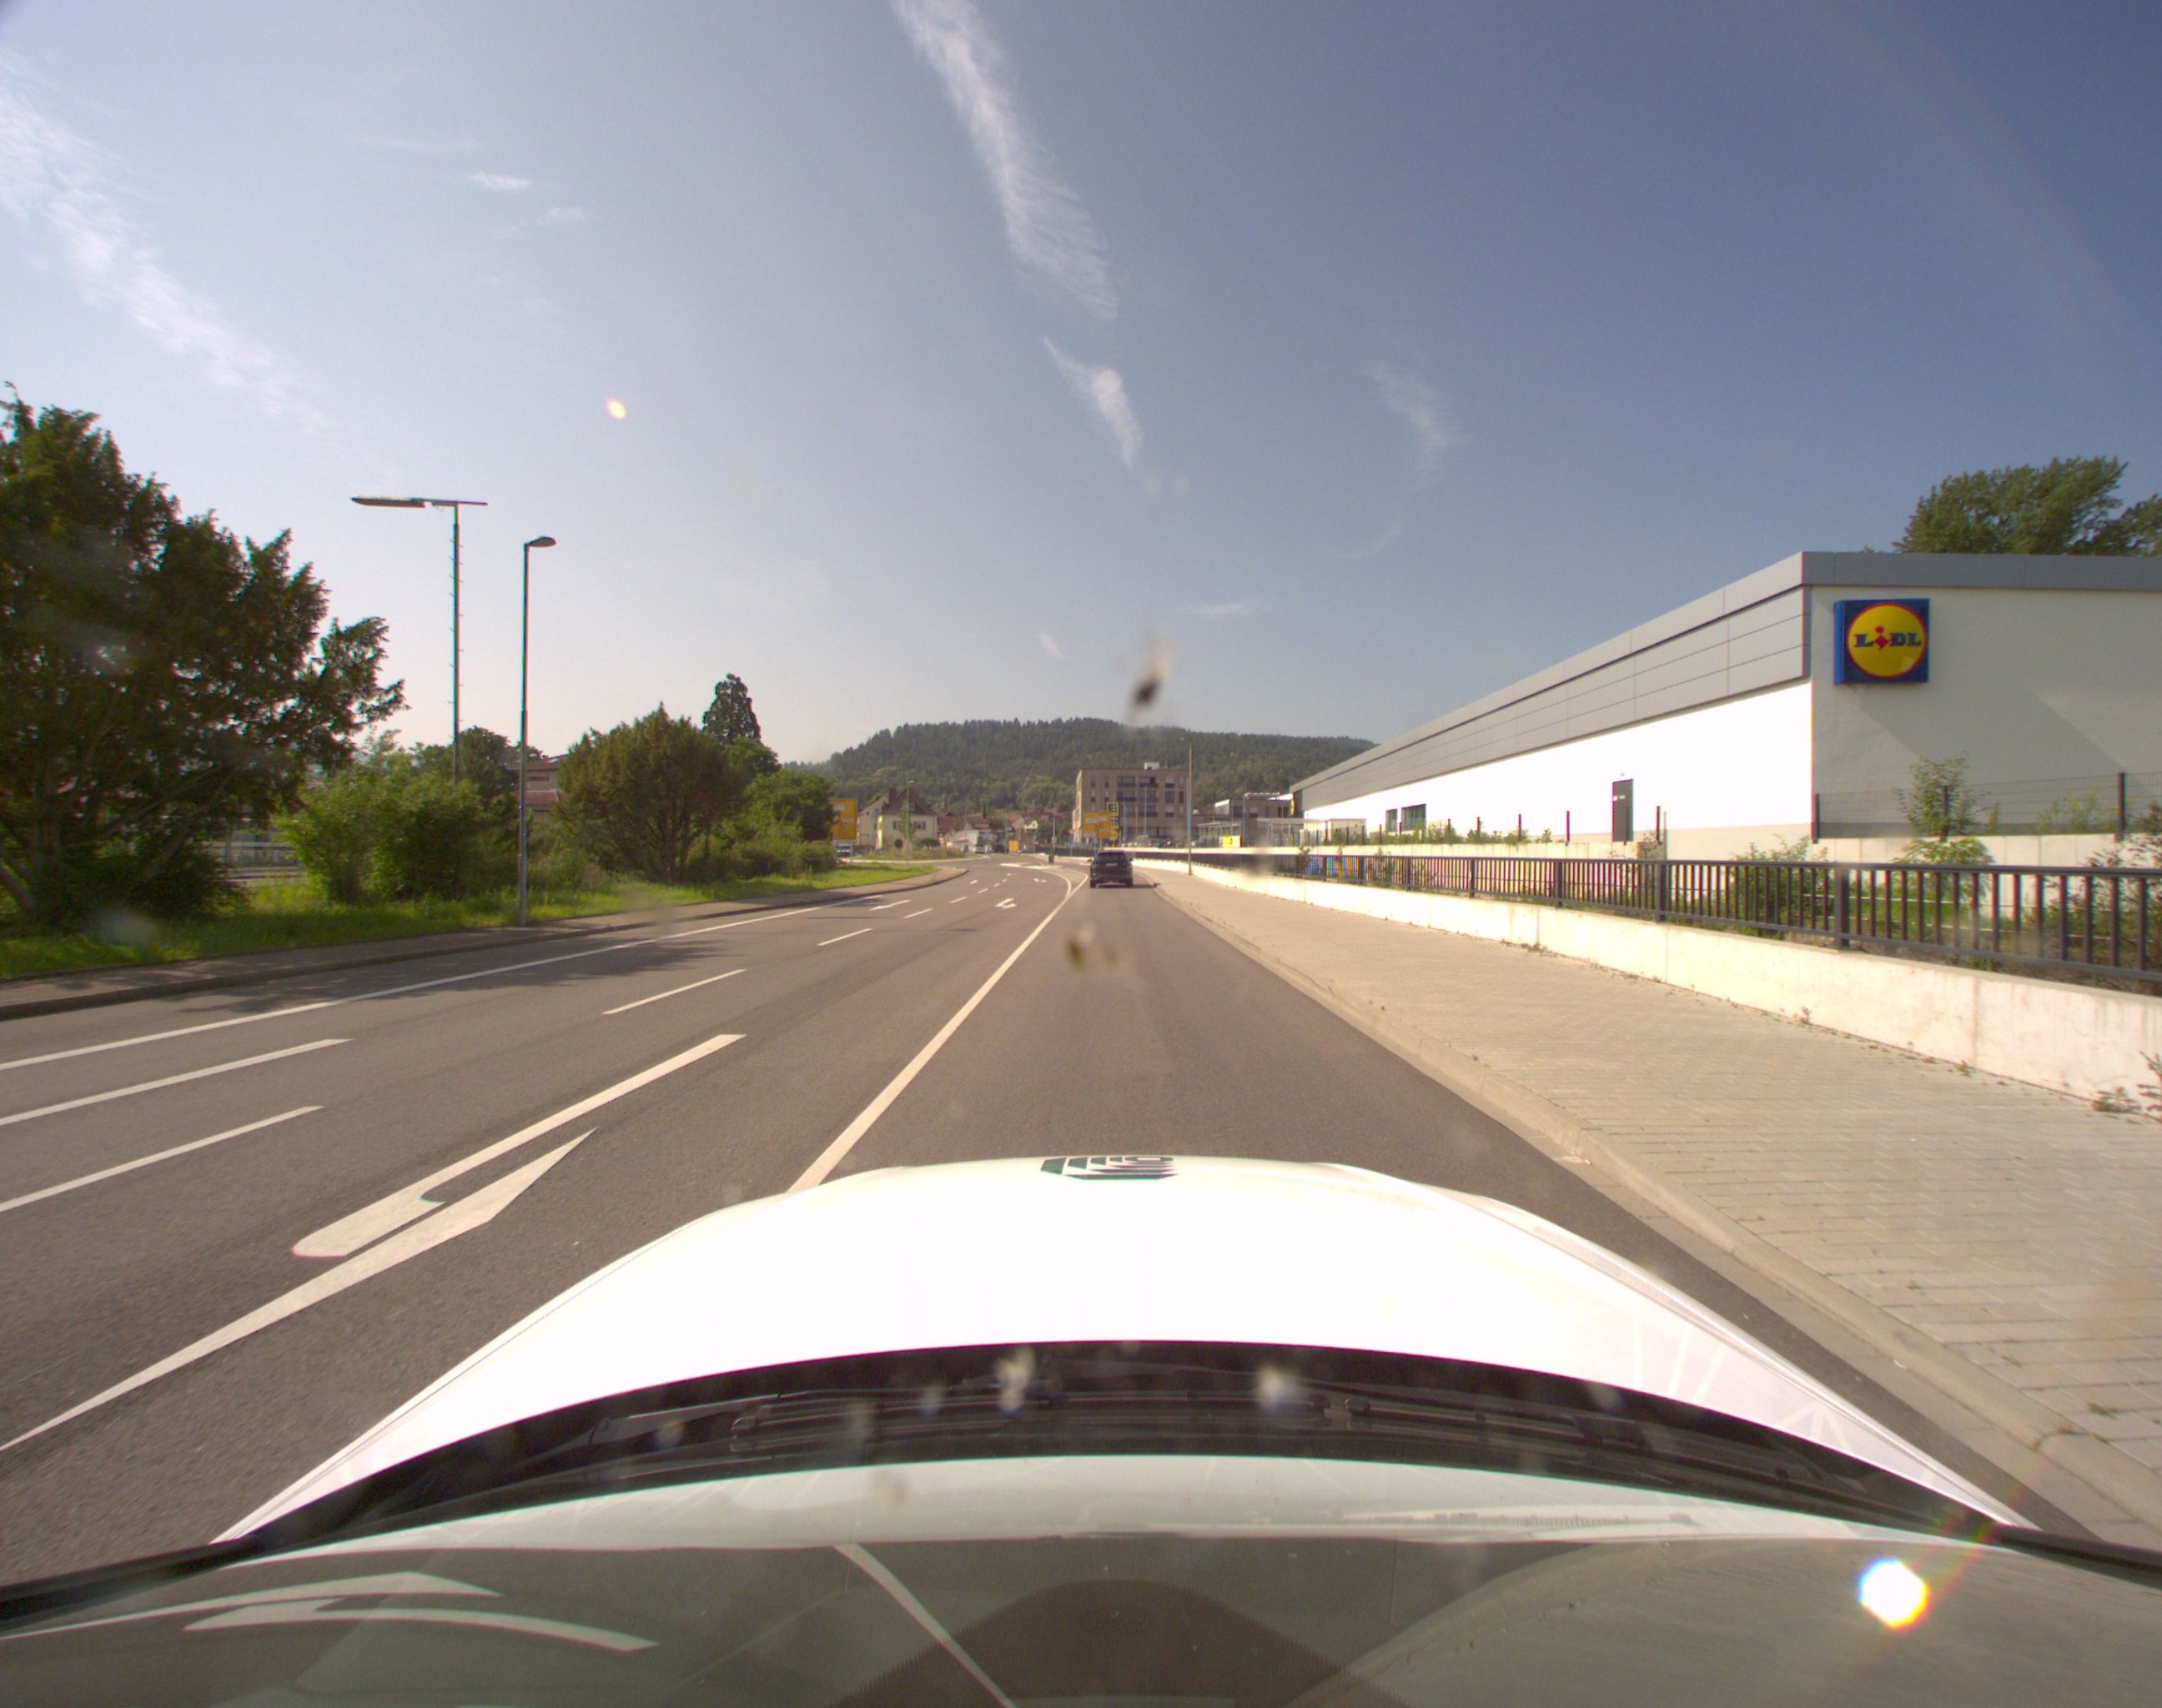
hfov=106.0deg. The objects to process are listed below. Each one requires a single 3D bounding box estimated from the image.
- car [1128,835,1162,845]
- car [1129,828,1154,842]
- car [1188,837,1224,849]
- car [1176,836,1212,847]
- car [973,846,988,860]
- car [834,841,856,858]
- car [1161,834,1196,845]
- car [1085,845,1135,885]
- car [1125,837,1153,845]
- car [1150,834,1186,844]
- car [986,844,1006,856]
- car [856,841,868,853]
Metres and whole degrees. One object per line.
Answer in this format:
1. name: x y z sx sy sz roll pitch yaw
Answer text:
1. car: 8.539 -1.851 108.505 4.289 1.245 1.655 0 1 -17
2. car: 9.652 -2.966 130.509 3.968 2.136 2.003 -1 0 4
3. car: 14.434 -1.284 93.878 3.815 1.364 1.671 0 1 -17
4. car: 13.457 -1.488 96.915 4.071 1.404 1.477 0 1 -17
5. car: -15.147 -0.182 123.302 1.990 2.013 3.994 -1 0 -4
6. car: -33.883 -0.695 117.163 1.800 2.077 4.606 1 3 1
7. car: 12.014 -1.775 100.460 4.015 1.404 1.715 0 1 -17
8. car: 1.235 0.455 36.234 1.876 1.684 3.996 -1 0 -3
9. car: 8.155 -1.856 114.759 3.563 1.199 1.705 0 1 -17
10. car: 11.107 -1.858 103.918 4.223 1.245 1.734 0 1 -17
11. car: -14.032 -0.658 134.000 1.979 2.013 4.015 -1 0 14
12. car: -39.209 -1.326 145.886 1.815 2.013 3.975 -1 1 -19
